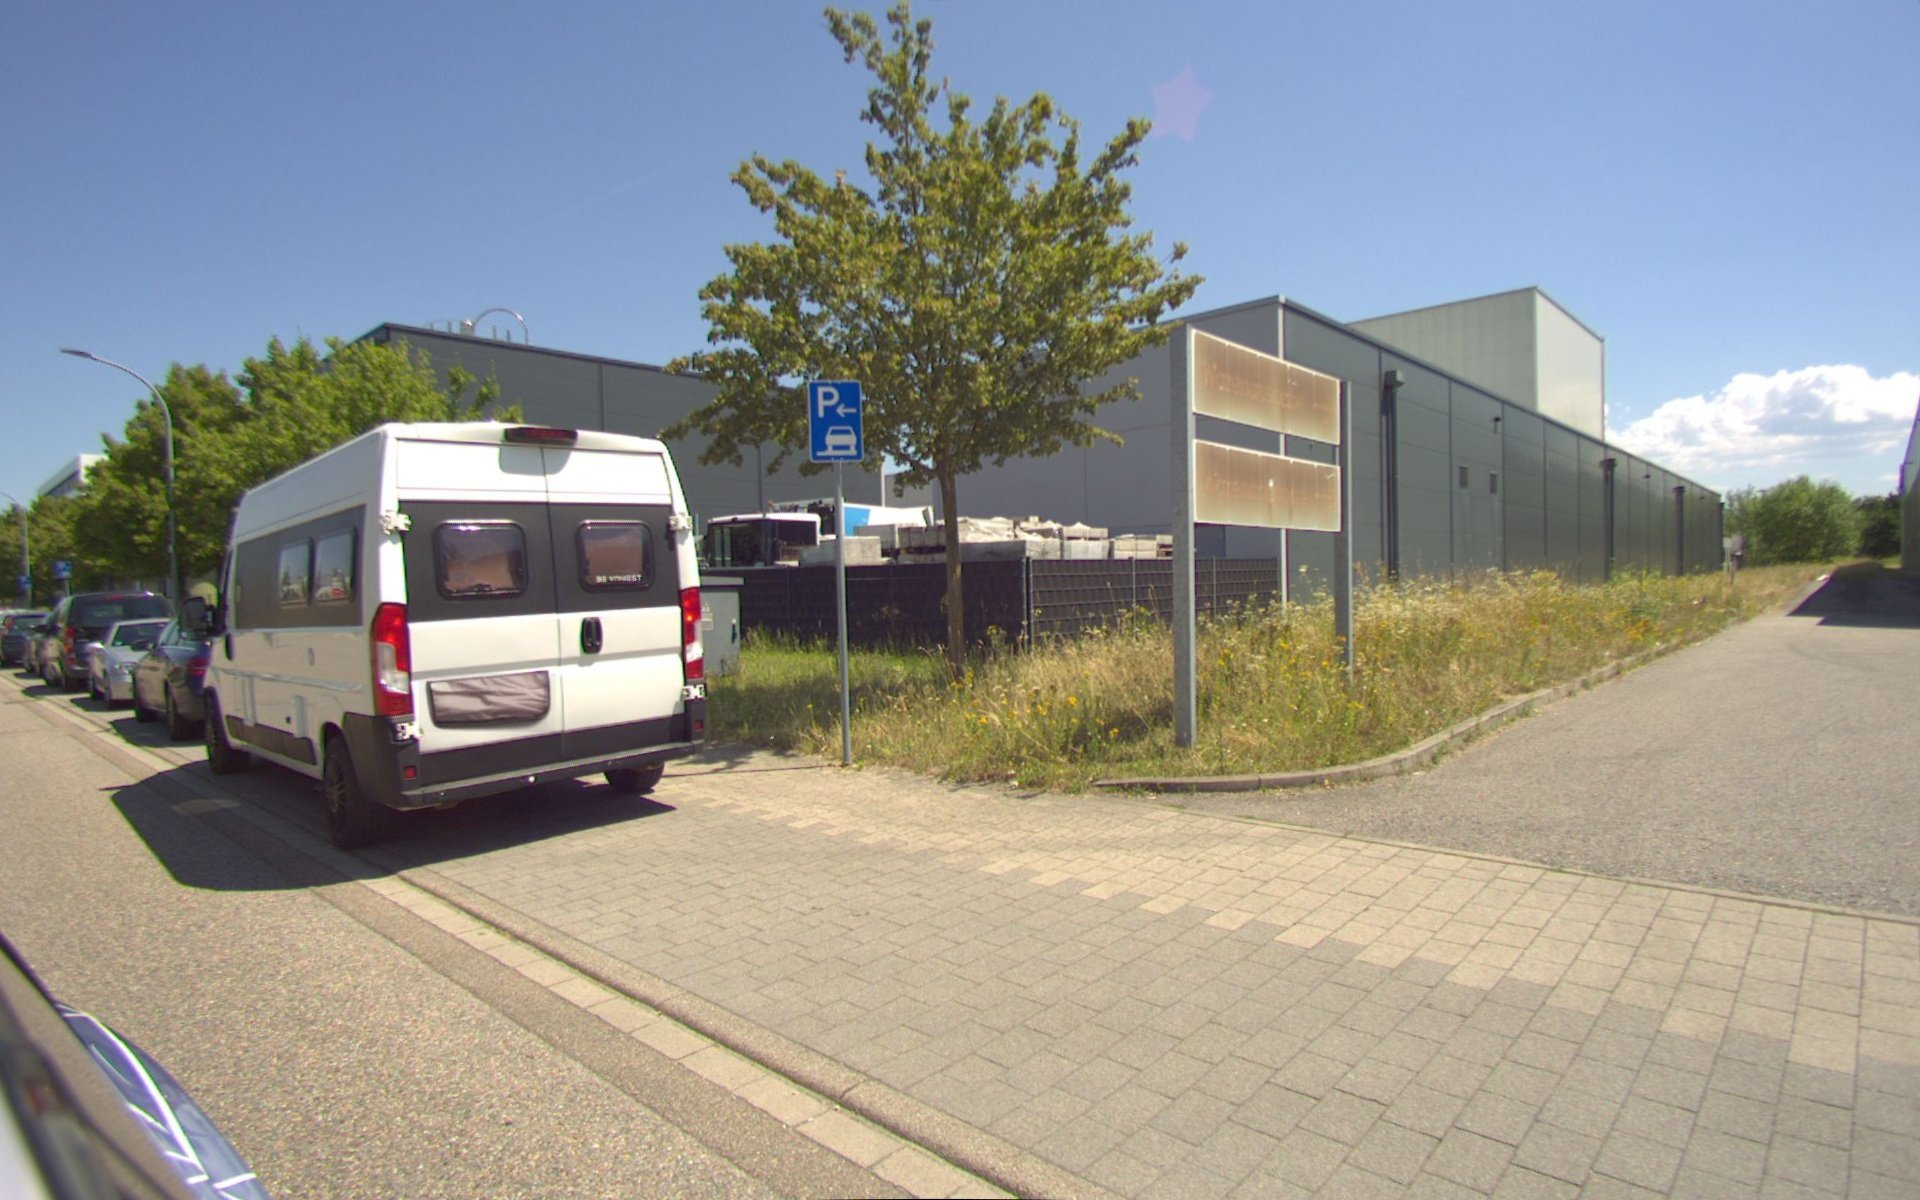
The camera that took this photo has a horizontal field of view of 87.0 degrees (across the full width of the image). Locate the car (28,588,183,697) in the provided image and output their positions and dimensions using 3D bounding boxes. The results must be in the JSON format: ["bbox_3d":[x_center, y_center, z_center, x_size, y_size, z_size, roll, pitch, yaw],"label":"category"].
[{"bbox_3d":[-16.620,0.750,19.627,4.083,1.824,1.811,-1,2,44],"label":"car"}]

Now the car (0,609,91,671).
[{"bbox_3d":[-25.749,1.068,28.168,4.451,1.497,1.775,-1,2,42],"label":"car"}]

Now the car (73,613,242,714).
[{"bbox_3d":[-12.948,0.926,16.244,4.002,1.321,1.625,-1,2,45],"label":"car"}]

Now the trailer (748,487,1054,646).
[{"bbox_3d":[-1.152,-0.979,31.726,3.145,4.000,12.408,-1,1,31],"label":"trailer"}]

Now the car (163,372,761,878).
[{"bbox_3d":[-4.392,0.109,8.179,6.087,2.618,2.297,-1,2,44],"label":"car"}]

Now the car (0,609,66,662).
[{"bbox_3d":[-29.956,1.111,32.172,4.189,1.497,1.775,-1,2,42],"label":"car"}]

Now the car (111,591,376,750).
[{"bbox_3d":[-9.074,0.746,12.648,4.626,1.552,1.811,-1,2,44],"label":"car"}]

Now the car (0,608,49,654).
[{"bbox_3d":[-34.306,1.109,36.444,3.968,1.497,1.775,-1,2,42],"label":"car"}]

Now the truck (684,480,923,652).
[{"bbox_3d":[-3.966,-0.842,26.959,3.145,4.000,5.991,-1,1,31],"label":"truck"}]

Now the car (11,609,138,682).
[{"bbox_3d":[-21.194,1.023,24.165,4.452,1.475,1.775,-1,2,43],"label":"car"}]
